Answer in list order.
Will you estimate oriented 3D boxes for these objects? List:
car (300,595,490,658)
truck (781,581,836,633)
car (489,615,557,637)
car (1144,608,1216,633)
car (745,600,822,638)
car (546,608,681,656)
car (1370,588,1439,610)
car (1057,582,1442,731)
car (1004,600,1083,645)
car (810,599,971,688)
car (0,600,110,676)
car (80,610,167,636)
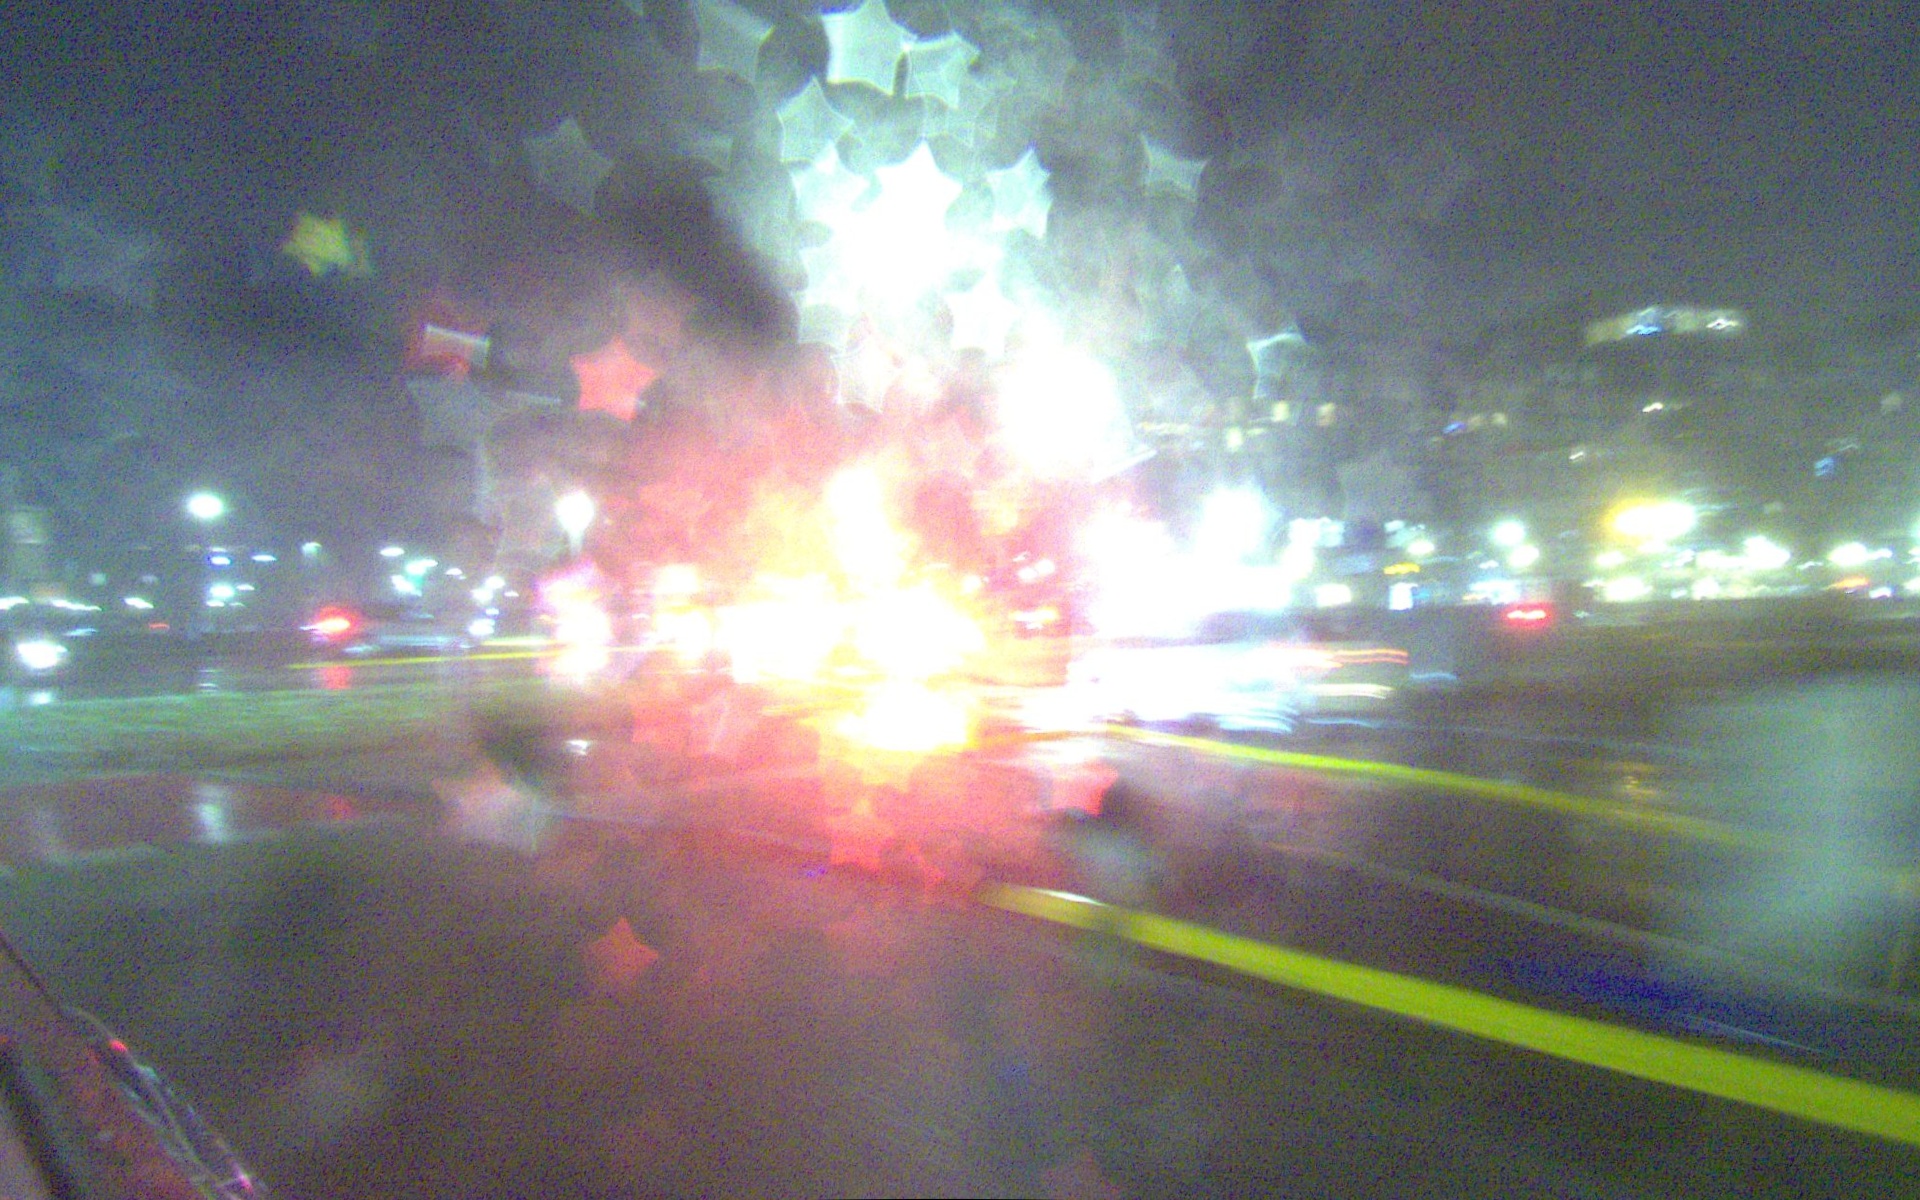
[{"bbox_3d":[-15.912,0.713,28.646,4.365,1.634,2.002,0,-1,-44],"label":"car"},{"bbox_3d":[-7.665,0.381,51.872,2.287,2.415,7.821,0,-1,-5],"label":"truck"},{"bbox_3d":[-31.716,1.893,73.494,4.126,1.477,2.000,-1,-1,-1],"label":"car"},{"bbox_3d":[15.040,1.380,69.291,4.357,1.634,2.005,0,-1,-14],"label":"car"},{"bbox_3d":[-7.640,0.813,44.140,1.979,1.544,4.171,-1,-1,11],"label":"car"},{"bbox_3d":[-11.777,1.053,34.664,1.991,1.544,4.144,-1,-1,29],"label":"car"},{"bbox_3d":[33.324,-0.057,75.883,4.357,1.634,2.005,0,-1,-14],"label":"car"},{"bbox_3d":[3.293,0.645,12.369,1.966,1.466,4.316,4,-3,-31],"label":"car"},{"bbox_3d":[3.584,0.917,42.800,1.989,1.788,3.965,-2,-1,26],"label":"car"},{"bbox_3d":[-1.582,0.825,21.001,2.034,1.634,4.648,0,-1,-21],"label":"car"},{"bbox_3d":[-20.015,0.783,20.055,4.559,1.477,1.653,-1,-1,-21],"label":"car"},{"bbox_3d":[-52.440,1.415,63.505,4.122,1.477,2.002,-1,-1,-43],"label":"car"}]
